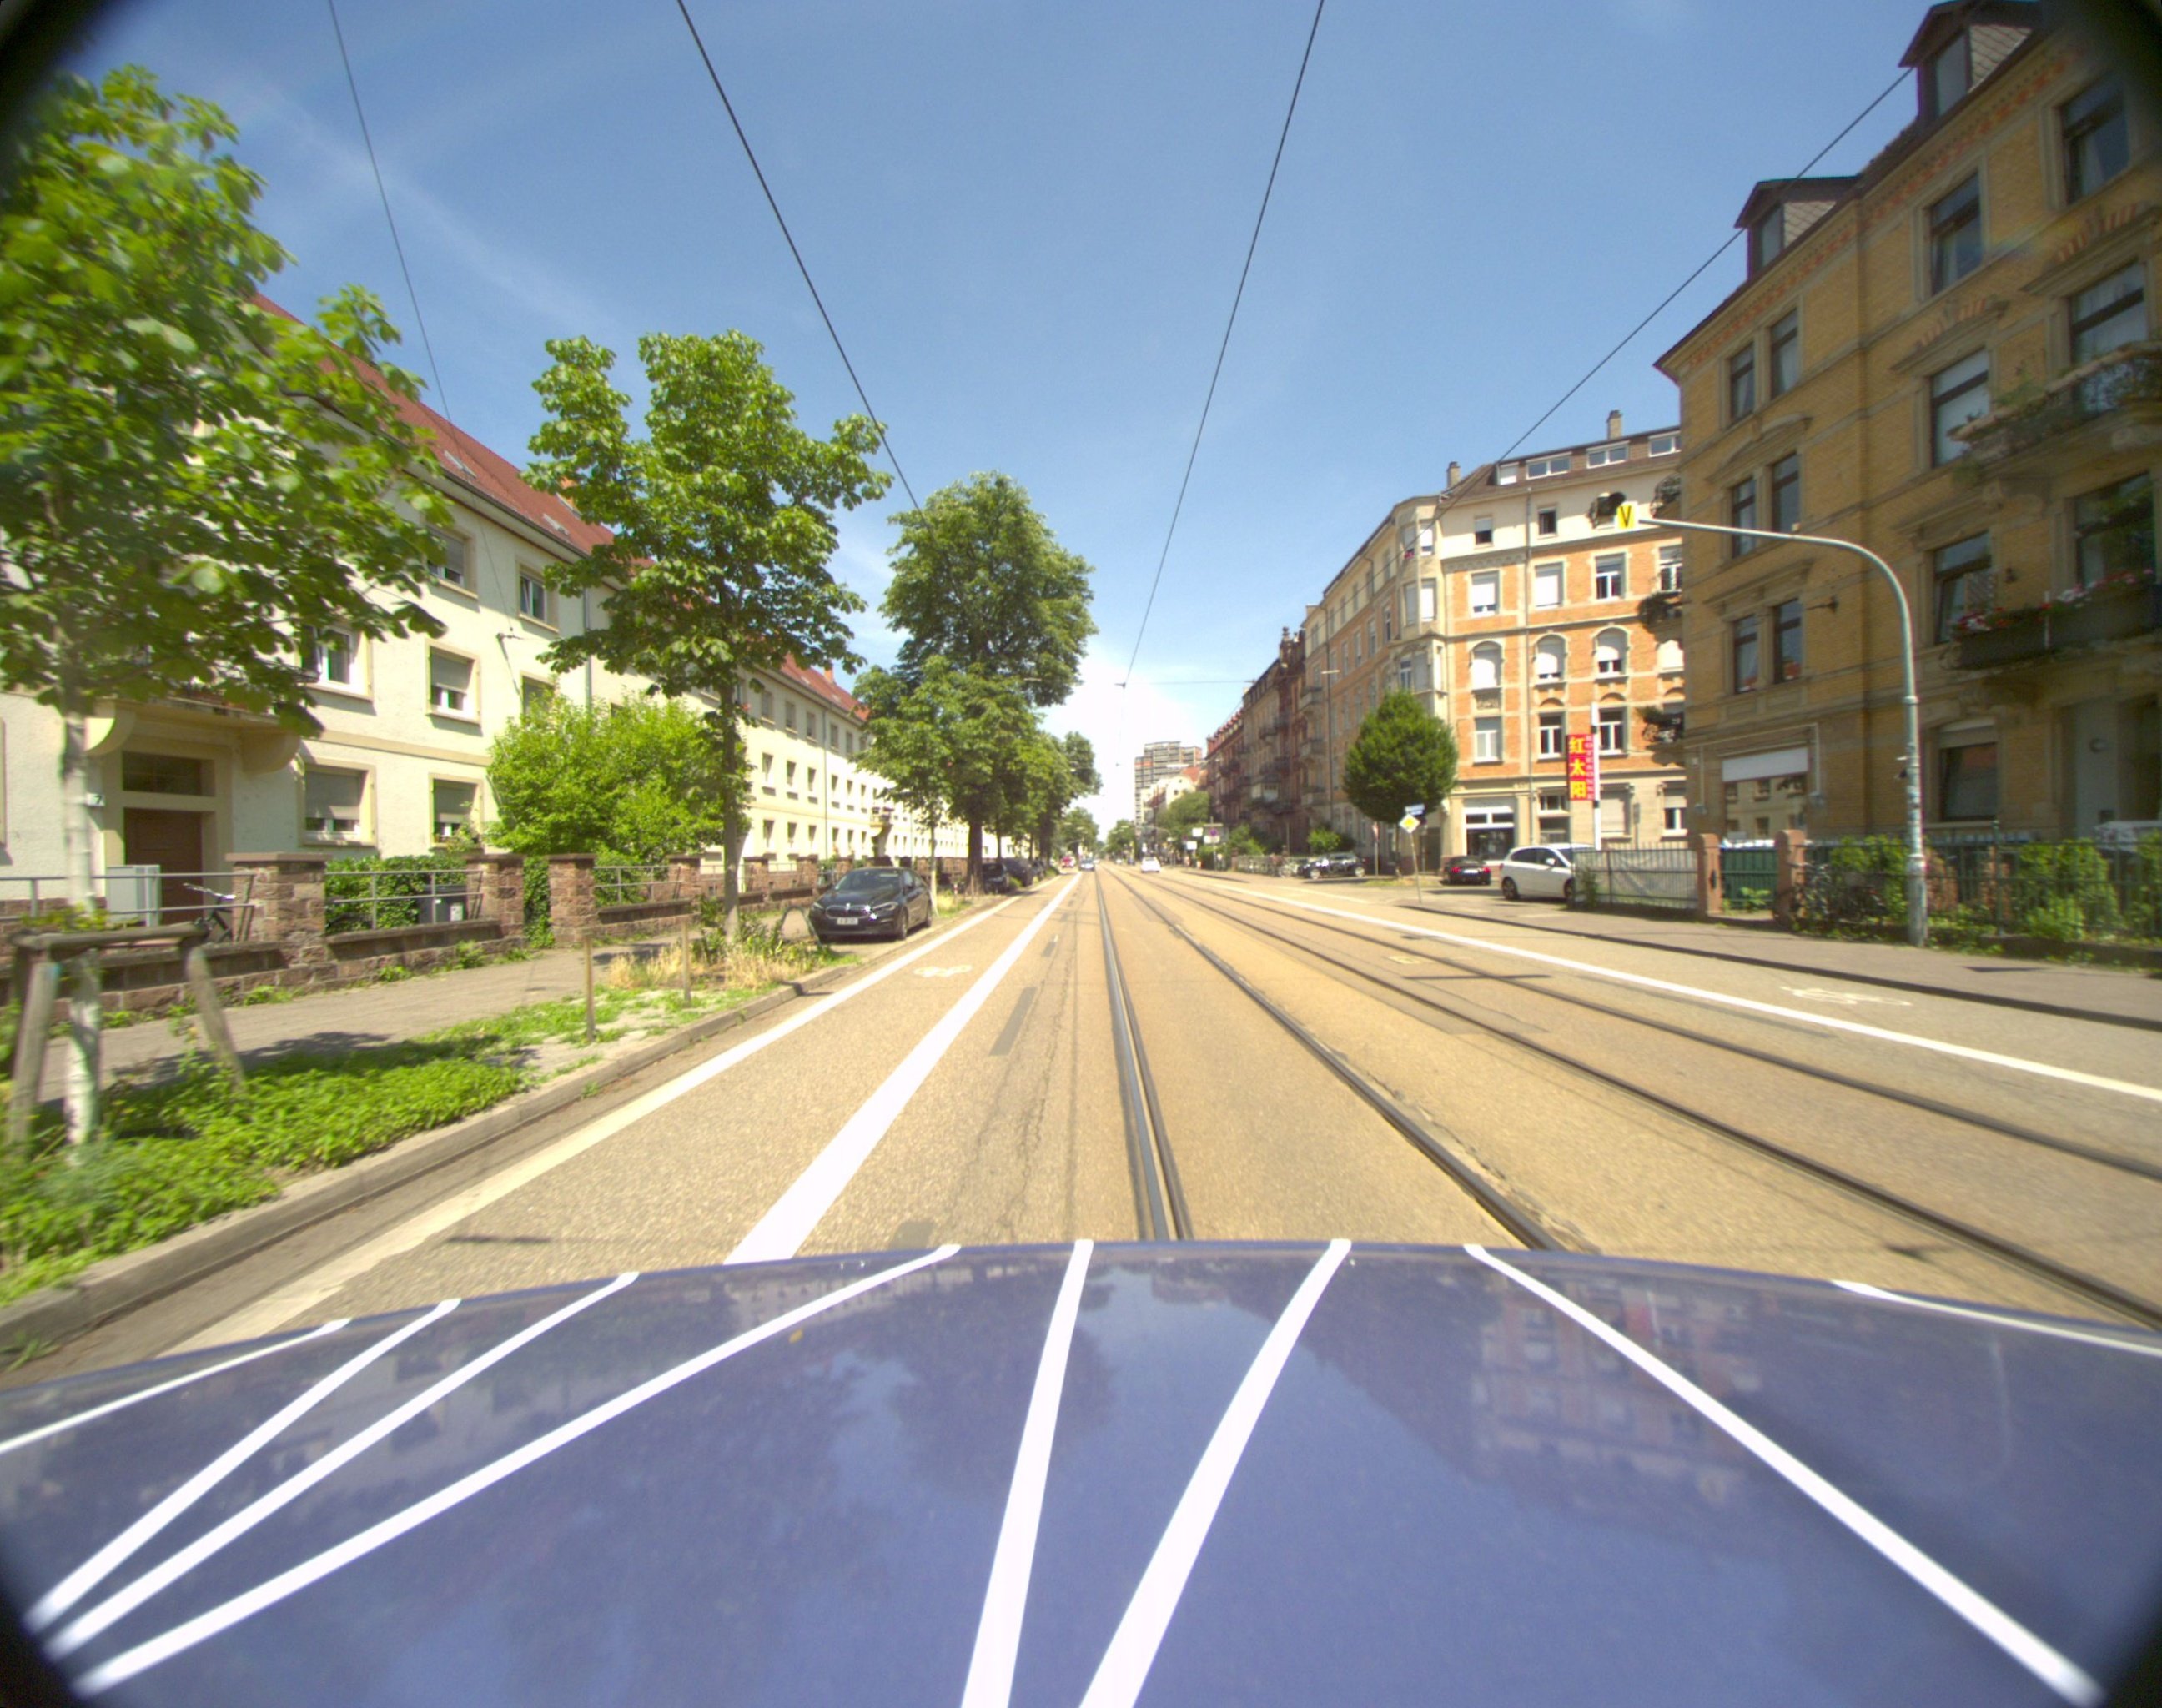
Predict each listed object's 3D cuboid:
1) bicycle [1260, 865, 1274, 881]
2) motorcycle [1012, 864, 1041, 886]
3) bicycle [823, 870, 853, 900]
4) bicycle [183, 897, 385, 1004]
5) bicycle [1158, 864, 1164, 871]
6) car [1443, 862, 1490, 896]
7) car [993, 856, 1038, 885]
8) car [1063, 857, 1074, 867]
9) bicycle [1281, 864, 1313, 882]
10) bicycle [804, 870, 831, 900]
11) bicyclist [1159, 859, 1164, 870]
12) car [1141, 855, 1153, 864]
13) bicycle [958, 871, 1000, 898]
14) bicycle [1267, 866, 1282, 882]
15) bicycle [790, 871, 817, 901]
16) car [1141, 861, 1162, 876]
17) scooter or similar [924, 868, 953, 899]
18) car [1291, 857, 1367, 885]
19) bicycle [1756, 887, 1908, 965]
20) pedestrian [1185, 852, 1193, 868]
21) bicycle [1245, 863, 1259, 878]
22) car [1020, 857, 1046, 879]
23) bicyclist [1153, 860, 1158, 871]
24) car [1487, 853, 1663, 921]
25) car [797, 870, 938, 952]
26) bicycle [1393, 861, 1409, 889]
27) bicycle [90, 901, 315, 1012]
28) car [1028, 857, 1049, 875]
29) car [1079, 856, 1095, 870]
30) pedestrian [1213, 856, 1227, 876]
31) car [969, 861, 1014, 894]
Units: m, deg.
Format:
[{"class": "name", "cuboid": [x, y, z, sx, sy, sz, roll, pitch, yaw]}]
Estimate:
[{"class": "bicycle", "cuboid": [11.923, 1.187, 48.649, 0.440, 0.977, 1.711, -1, 0, -1]}, {"class": "motorcycle", "cuboid": [-3.780, 1.465, 52.710, 1.919, 1.425, 0.671, -1, 0, -8]}, {"class": "bicycle", "cuboid": [-9.398, 1.167, 29.421, 0.480, 1.072, 1.924, -1, 0, 1]}, {"class": "bicycle", "cuboid": [-9.691, 1.125, 9.353, 0.500, 1.096, 1.807, -1, 0, 4]}, {"class": "bicycle", "cuboid": [11.644, 1.951, 110.400, 0.630, 1.072, 1.875, 0, 0, 1]}, {"class": "car", "cuboid": [17.973, 1.136, 35.539, 1.627, 1.331, 3.777, -1, 2, 21]}, {"class": "car", "cuboid": [-3.853, 0.962, 45.634, 1.951, 1.641, 4.881, -1, 0, 4]}, {"class": "car", "cuboid": [-2.126, 1.300, 125.321, 1.737, 1.543, 4.424, -1, 0, -1]}, {"class": "bicycle", "cuboid": [12.862, 1.140, 45.222, 1.709, 1.031, 0.551, -1, 0, 5]}, {"class": "bicycle", "cuboid": [-10.239, 1.189, 29.571, 0.480, 1.072, 1.923, -1, 0, -5]}, {"class": "bicyclist", "cuboid": [11.645, 1.569, 110.321, 0.635, 1.575, 1.028, 0, 0, 1]}, {"class": "car", "cuboid": [11.182, 0.957, 128.824, 1.689, 1.441, 4.001, -1, 0, 2]}, {"class": "bicycle", "cuboid": [-4.150, 1.229, 31.083, 1.658, 1.072, 0.606, -1, 0, -6]}, {"class": "bicycle", "cuboid": [11.876, 1.224, 46.608, 0.440, 0.977, 1.711, -1, 0, -1]}, {"class": "bicycle", "cuboid": [-10.769, 1.238, 29.532, 0.480, 1.072, 1.923, -1, 0, -5]}, {"class": "car", "cuboid": [6.799, 1.375, 73.837, 1.760, 1.416, 4.000, 0, 0, 1]}, {"class": "scooter or similar", "cuboid": [-5.728, 1.167, 30.647, 0.379, 1.206, 1.250, -1, 0, 31]}, {"class": "car", "cuboid": [14.041, 0.961, 43.180, 3.769, 1.420, 1.713, -1, 1, 1]}, {"class": "bicycle", "cuboid": [11.288, 1.047, 11.506, 0.455, 0.997, 1.806, -1, 0, -2]}, {"class": "pedestrian", "cuboid": [11.794, 0.659, 83.074, 0.873, 1.690, 1.014, -1, 0, 7]}, {"class": "bicycle", "cuboid": [12.123, 1.185, 53.791, 0.498, 0.981, 1.711, -5, 0, -1]}, {"class": "car", "cuboid": [-3.528, 1.051, 56.552, 1.737, 1.543, 4.453, -1, 0, -1]}, {"class": "bicyclist", "cuboid": [10.778, 1.628, 110.089, 0.594, 1.535, 0.952, 0, 0, 1]}, {"class": "car", "cuboid": [13.122, 0.804, 20.539, 1.871, 1.590, 4.100, -2, 0, -4]}, {"class": "car", "cuboid": [-4.386, 1.103, 16.445, 1.774, 1.418, 4.861, -1, 0, -1]}, {"class": "bicycle", "cuboid": [15.304, 0.985, 36.354, 0.500, 1.221, 1.853, 0, 2, 29]}, {"class": "bicycle", "cuboid": [-10.381, 1.163, 9.093, 0.500, 1.096, 1.807, -1, 0, 4]}, {"class": "car", "cuboid": [-3.579, 1.023, 65.155, 1.661, 1.506, 3.999, -1, 0, -2]}, {"class": "car", "cuboid": [0.678, 1.049, 89.384, 1.737, 1.543, 4.424, -1, 0, -1]}, {"class": "pedestrian", "cuboid": [11.915, 1.019, 65.115, 0.853, 1.713, 1.139, -4, 0, 1]}, {"class": "car", "cuboid": [-4.124, 1.039, 35.591, 1.699, 1.410, 4.356, -1, 0, -1]}]
